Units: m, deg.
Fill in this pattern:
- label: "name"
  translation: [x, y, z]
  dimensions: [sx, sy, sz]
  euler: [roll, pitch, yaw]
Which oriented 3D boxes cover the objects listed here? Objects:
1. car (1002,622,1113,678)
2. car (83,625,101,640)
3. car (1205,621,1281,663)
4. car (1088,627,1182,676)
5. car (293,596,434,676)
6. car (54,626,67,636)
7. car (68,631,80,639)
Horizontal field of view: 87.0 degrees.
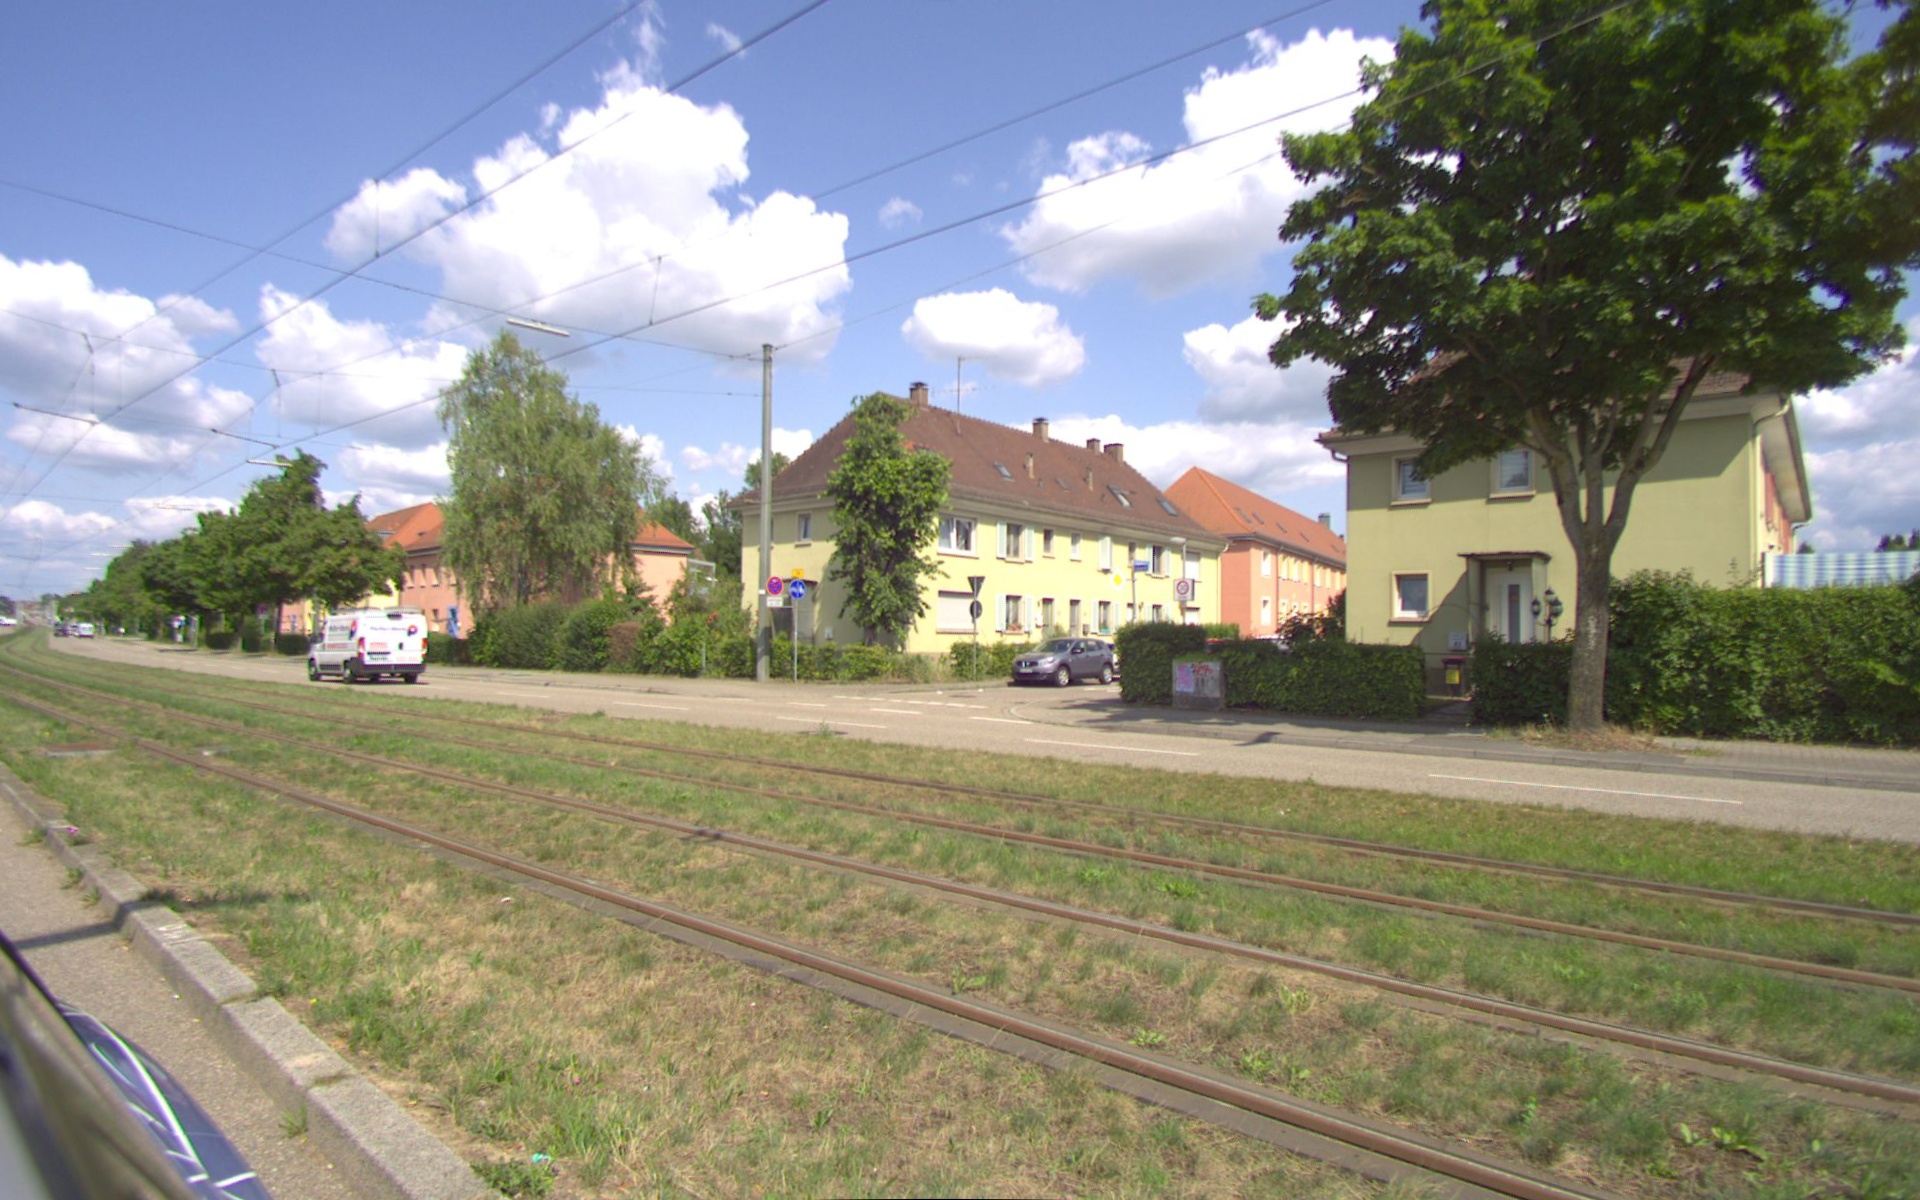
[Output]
- label: "car"
  translation: [3.203, 1.621, 32.752]
  dimensions: [1.822, 1.699, 3.702]
  euler: [-2, -4, 40]
- label: "car"
  translation: [-150.092, 5.661, 174.887]
  dimensions: [2.008, 2.455, 5.783]
  euler: [4, -4, -43]
- label: "car"
  translation: [12.371, 1.855, 44.124]
  dimensions: [1.727, 1.742, 3.701]
  euler: [-2, -4, 42]
- label: "car"
  translation: [6.453, 1.869, 37.099]
  dimensions: [1.726, 1.711, 3.701]
  euler: [-2, -3, 42]
- label: "car"
  translation: [-19.453, 1.175, 32.929]
  dimensions: [5.327, 2.390, 2.174]
  euler: [-1, -4, 39]
- label: "car"
  translation: [-166.877, 5.712, 187.717]
  dimensions: [1.665, 1.760, 4.232]
  euler: [2, -3, -43]
- label: "car"
  translation: [-175.095, 6.946, 199.982]
  dimensions: [1.665, 1.442, 4.281]
  euler: [2, -3, -43]
